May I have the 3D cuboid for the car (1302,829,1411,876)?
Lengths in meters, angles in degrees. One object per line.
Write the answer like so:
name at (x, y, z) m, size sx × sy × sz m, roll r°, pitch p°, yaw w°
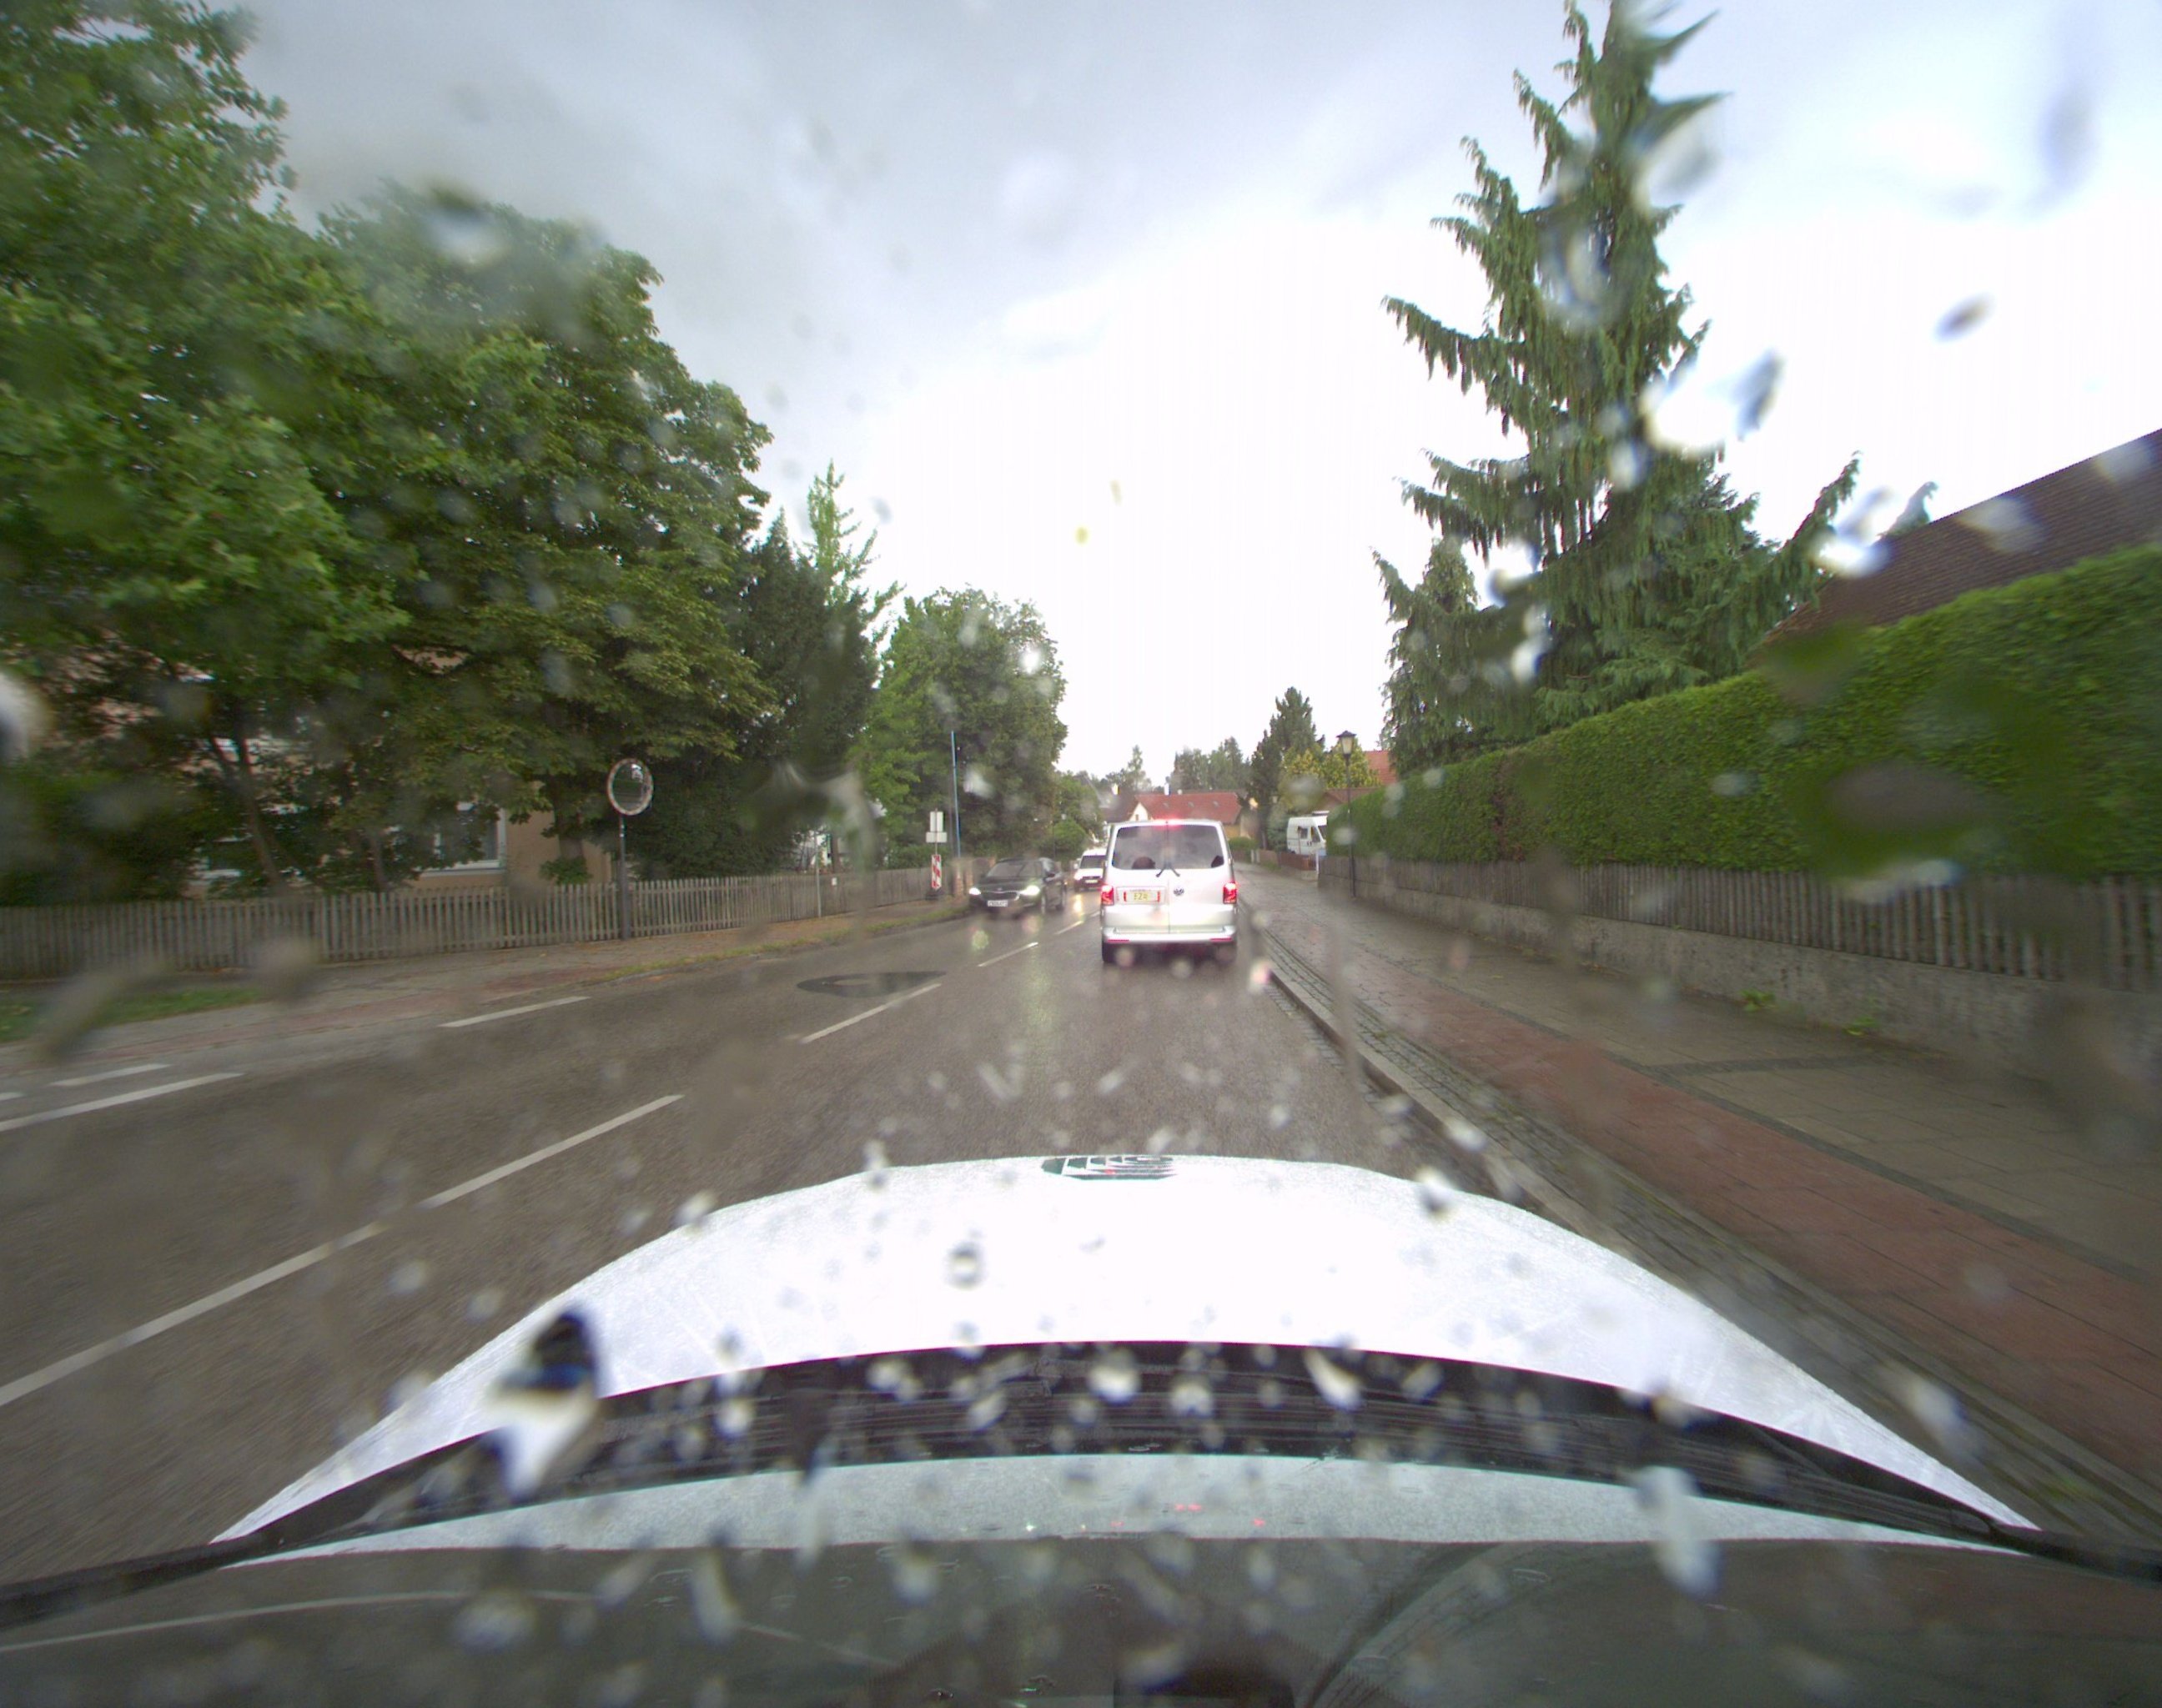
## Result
car at (11.686, -0.086, 34.694) m, size 4.074 × 1.751 × 1.697 m, roll -3°, pitch 2°, yaw 4°

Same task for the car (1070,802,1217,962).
car at (1.113, 0.375, 12.347) m, size 1.789 × 2.014 × 4.011 m, roll -1°, pitch -1°, yaw 10°

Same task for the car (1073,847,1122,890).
car at (0.774, 0.618, 35.310) m, size 1.631 × 1.765 × 4.340 m, roll 0°, pitch -1°, yaw 8°

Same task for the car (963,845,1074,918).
car at (-1.475, 0.664, 20.960) m, size 1.773 × 1.663 × 4.458 m, roll -1°, pitch -1°, yaw 10°

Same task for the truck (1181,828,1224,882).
truck at (7.406, 0.084, 49.961) m, size 2.462 × 3.074 × 6.309 m, roll 0°, pitch -1°, yaw 8°

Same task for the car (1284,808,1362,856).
car at (11.792, -1.021, 40.016) m, size 1.990 × 2.173 × 4.943 m, roll 0°, pitch -1°, yaw -5°
